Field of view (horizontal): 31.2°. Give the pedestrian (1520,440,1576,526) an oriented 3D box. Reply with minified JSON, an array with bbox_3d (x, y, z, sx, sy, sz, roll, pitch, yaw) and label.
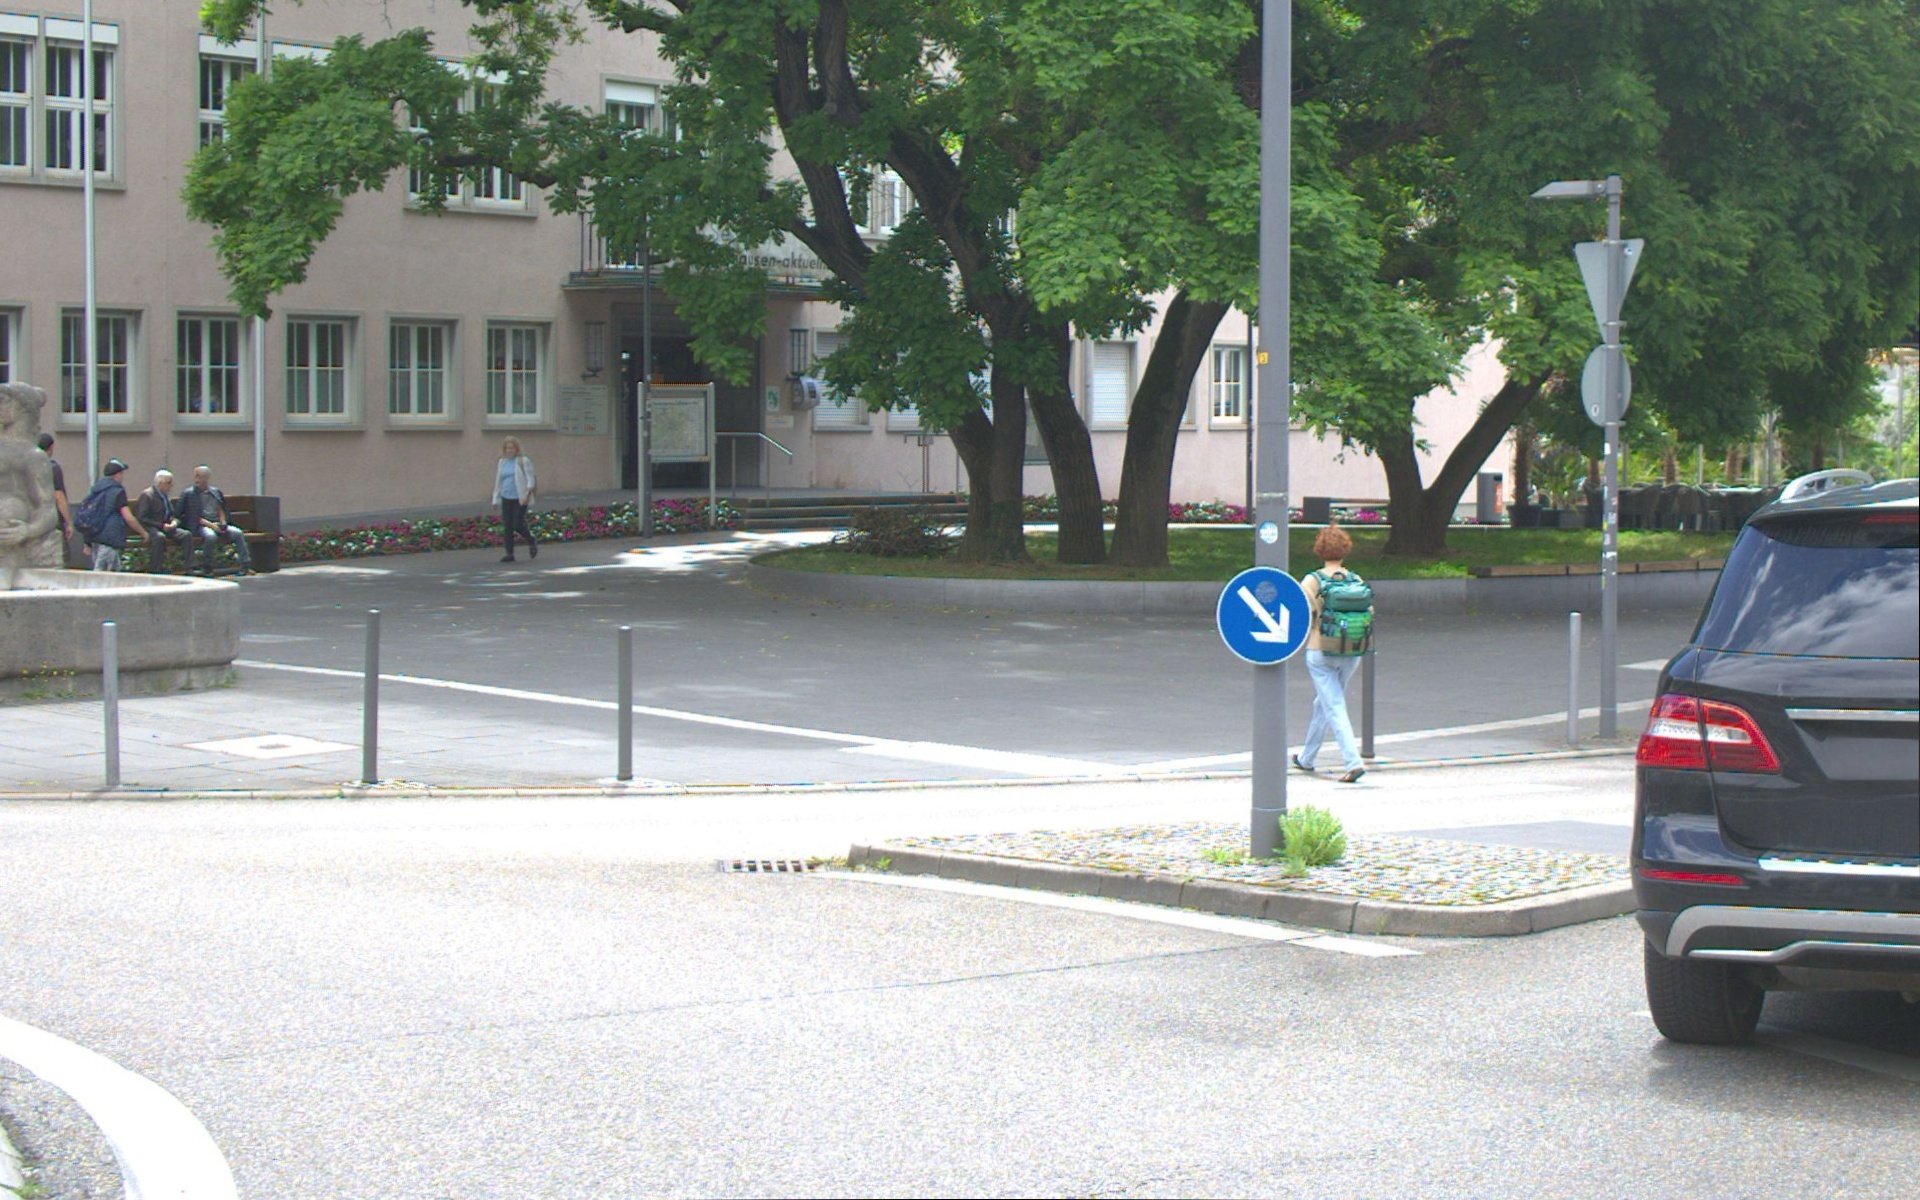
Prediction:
[{"bbox_3d":[10.845,-2.163,63.445,0.788,1.571,0.635,2,2,42],"label":"pedestrian"}]

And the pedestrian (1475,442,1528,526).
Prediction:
[{"bbox_3d":[10.217,-2.185,64.902,0.636,1.571,0.786,2,2,43],"label":"pedestrian"}]

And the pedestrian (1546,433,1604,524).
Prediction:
[{"bbox_3d":[11.030,-2.176,61.652,0.788,1.622,0.635,2,2,42],"label":"pedestrian"}]

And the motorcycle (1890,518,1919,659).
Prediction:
[{"bbox_3d":[9.640,-0.065,31.497,0.581,1.284,2.138,-4,6,-44],"label":"motorcycle"}]

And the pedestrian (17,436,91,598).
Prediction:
[{"bbox_3d":[-9.170,-0.838,34.801,0.572,1.603,0.438,0,5,-32],"label":"pedestrian"}]

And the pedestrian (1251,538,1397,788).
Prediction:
[{"bbox_3d":[2.308,0.383,21.842,0.550,1.509,0.788,-2,5,-29],"label":"pedestrian"}]

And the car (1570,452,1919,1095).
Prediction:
[{"bbox_3d":[3.507,0.417,11.200,2.030,1.721,4.428,1,1,23],"label":"car"}]

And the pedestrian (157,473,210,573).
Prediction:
[{"bbox_3d":[-9.268,-0.916,41.033,0.486,1.178,0.581,1,1,0],"label":"pedestrian"}]

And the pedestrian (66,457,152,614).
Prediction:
[{"bbox_3d":[-8.491,-0.641,34.284,0.636,1.518,0.577,0,5,-32],"label":"pedestrian"}]

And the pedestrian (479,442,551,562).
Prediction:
[{"bbox_3d":[-5.619,-1.239,43.382,0.698,1.487,0.815,1,1,-21],"label":"pedestrian"}]

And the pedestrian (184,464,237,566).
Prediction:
[{"bbox_3d":[-9.102,-1.029,41.766,0.486,1.218,0.581,1,1,0],"label":"pedestrian"}]
